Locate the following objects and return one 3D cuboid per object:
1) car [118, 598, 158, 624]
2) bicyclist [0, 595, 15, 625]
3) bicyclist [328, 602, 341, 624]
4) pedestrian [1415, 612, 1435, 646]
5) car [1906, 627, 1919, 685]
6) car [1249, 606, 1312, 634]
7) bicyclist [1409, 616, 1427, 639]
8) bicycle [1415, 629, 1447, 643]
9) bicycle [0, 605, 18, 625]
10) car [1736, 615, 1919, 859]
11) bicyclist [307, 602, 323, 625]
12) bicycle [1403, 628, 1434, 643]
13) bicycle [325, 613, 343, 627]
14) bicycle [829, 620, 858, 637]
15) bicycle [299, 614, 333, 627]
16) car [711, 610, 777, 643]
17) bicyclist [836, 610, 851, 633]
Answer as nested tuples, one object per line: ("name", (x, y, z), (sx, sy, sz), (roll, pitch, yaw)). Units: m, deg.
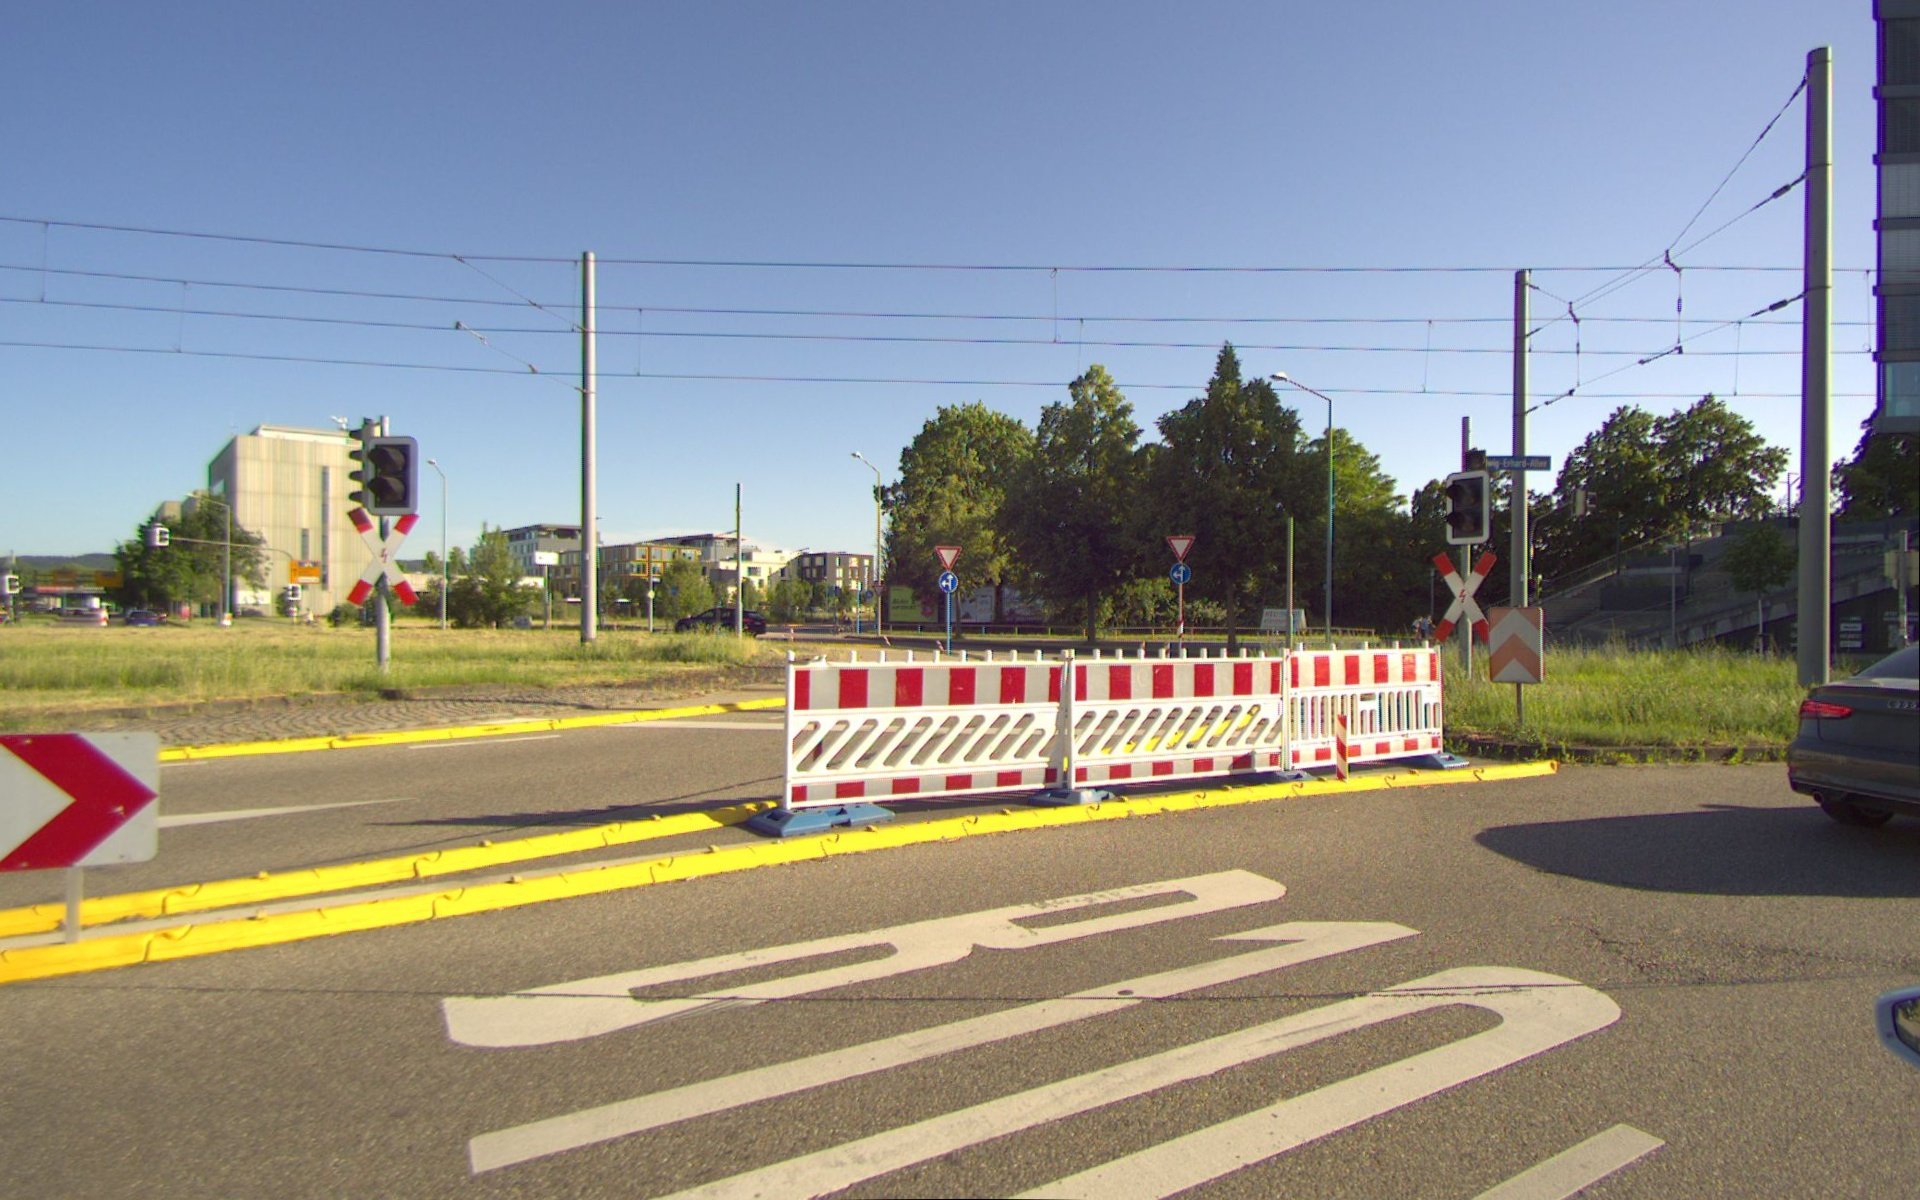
("car", (-57.201, 0.743, 69.883), (3.865, 1.809, 1.764), (0, 0, 44))
("bicyclist", (-54.275, 0.564, 56.927), (0.693, 1.685, 0.938), (1, 1, 39))
("bicyclist", (-45.503, 0.922, 73.039), (0.658, 1.601, 0.824), (1, 0, -44))
("pedestrian", (22.779, 1.420, 49.222), (0.746, 1.651, 0.886), (0, 0, 14))
("car", (28.367, 1.591, 26.947), (3.895, 1.596, 1.941), (1, 0, 10))
("car", (21.369, 1.323, 67.072), (1.822, 1.830, 3.703), (1, -1, -38))
("bicyclist", (27.707, 1.668, 60.730), (0.825, 1.411, 0.614), (0, 0, -21))
("bicycle", (28.098, 2.147, 59.963), (1.860, 0.864, 0.614), (1, -1, -21))
("bicycle", (-54.395, 0.837, 56.769), (0.693, 1.143, 1.648), (1, 1, 39))
("car", (7.608, 0.857, 6.610), (4.287, 1.398, 1.760), (1, 0, -16))
("bicyclist", (-43.030, 0.910, 67.009), (0.916, 1.537, 0.611), (1, -1, -35))
("bicycle", (27.723, 2.124, 60.744), (1.860, 0.864, 0.614), (1, -1, -21))
("bicycle", (-45.520, 1.467, 73.065), (0.658, 1.001, 2.233), (1, -1, -44))
("bicycle", (-7.729, 1.868, 66.483), (1.834, 1.025, 0.586), (1, 0, 23))
("bicycle", (-42.992, 1.380, 67.040), (1.870, 0.864, 0.611), (1, -1, -35))
("car", (-11.091, 1.321, 51.452), (1.720, 1.507, 4.446), (1, 0, -35))
("bicyclist", (-7.714, 1.392, 66.467), (0.742, 1.487, 0.586), (1, 0, 23))
